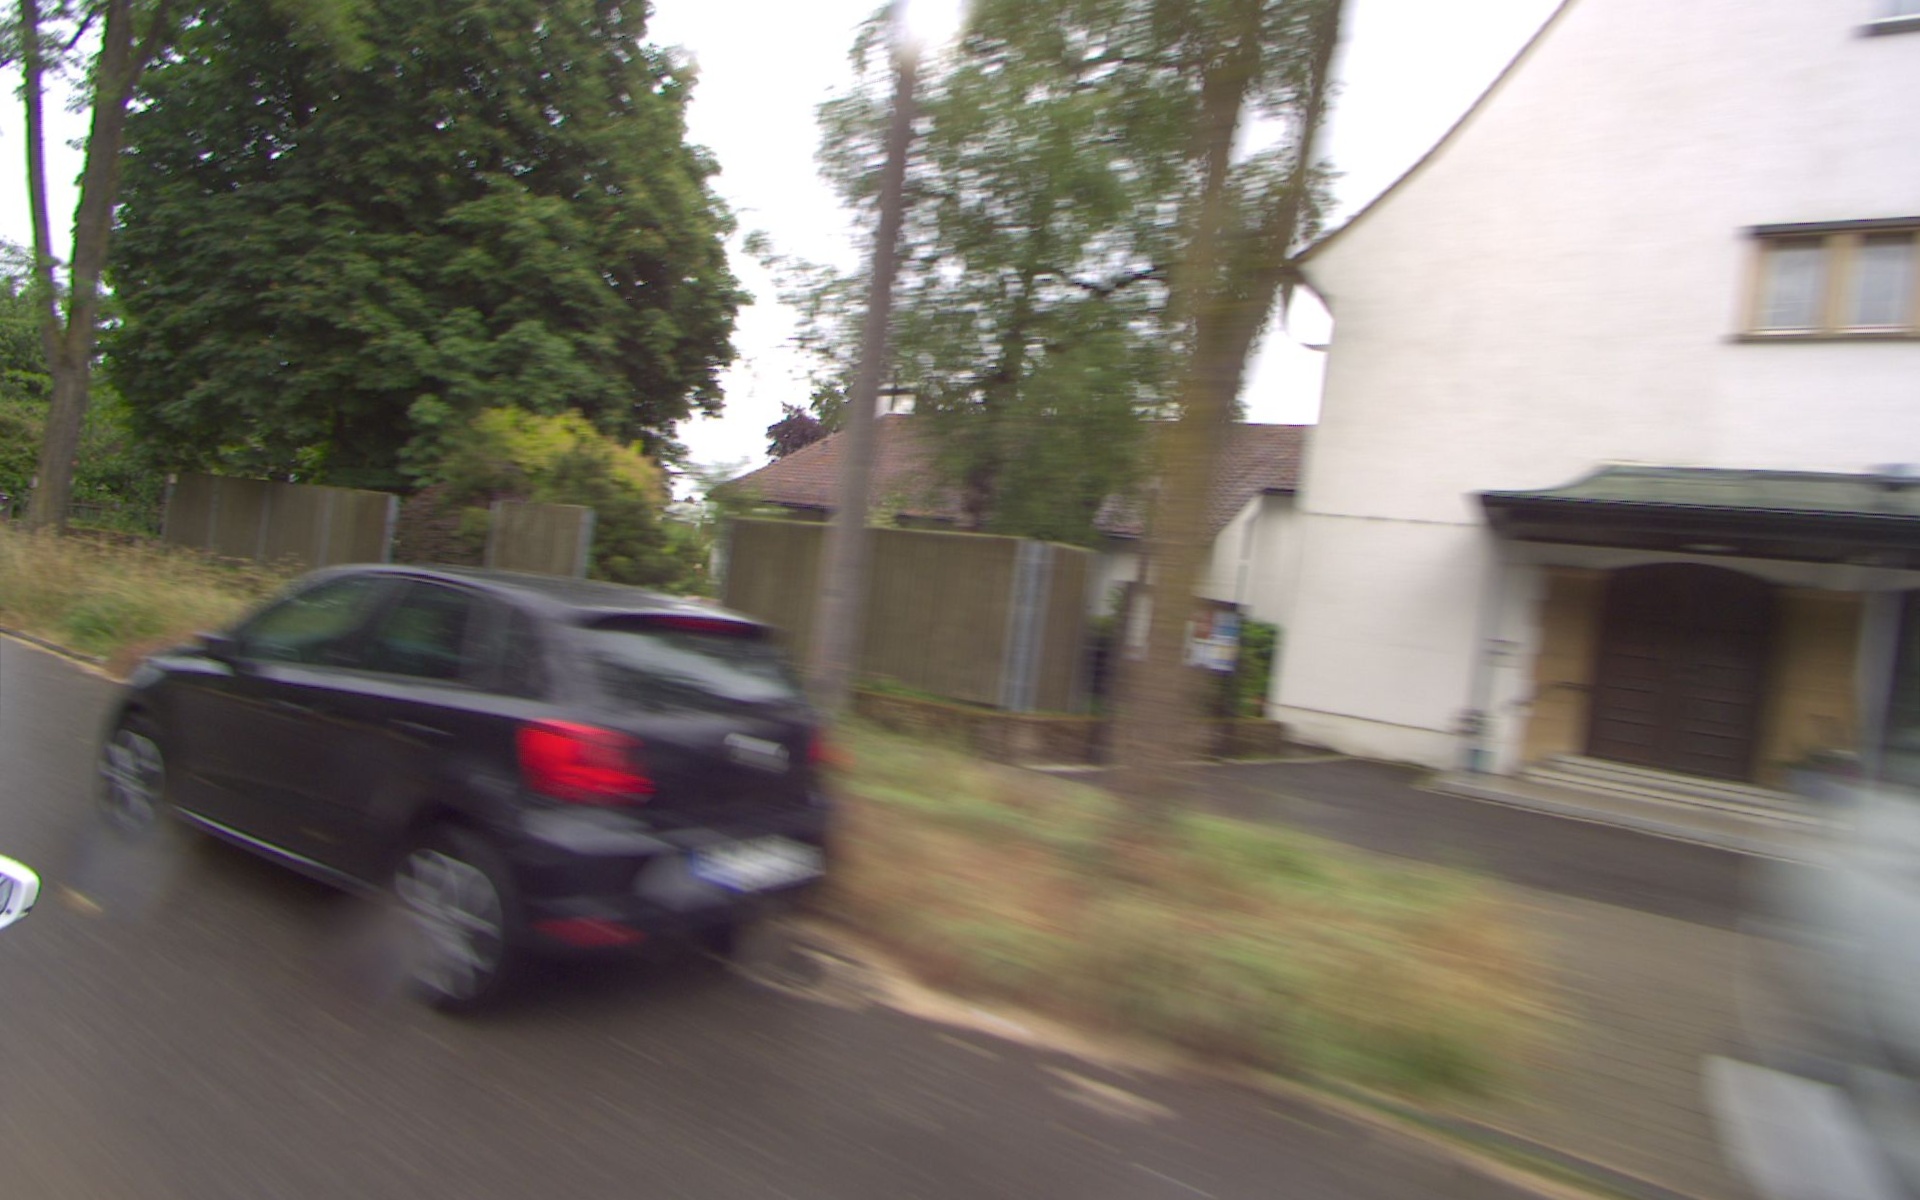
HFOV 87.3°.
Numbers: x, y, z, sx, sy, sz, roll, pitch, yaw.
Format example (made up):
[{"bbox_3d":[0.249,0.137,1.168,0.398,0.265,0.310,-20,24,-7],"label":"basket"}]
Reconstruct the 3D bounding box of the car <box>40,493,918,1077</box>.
[{"bbox_3d":[-2.354,0.504,4.624,3.933,1.481,1.644,7,-1,32],"label":"car"}]
